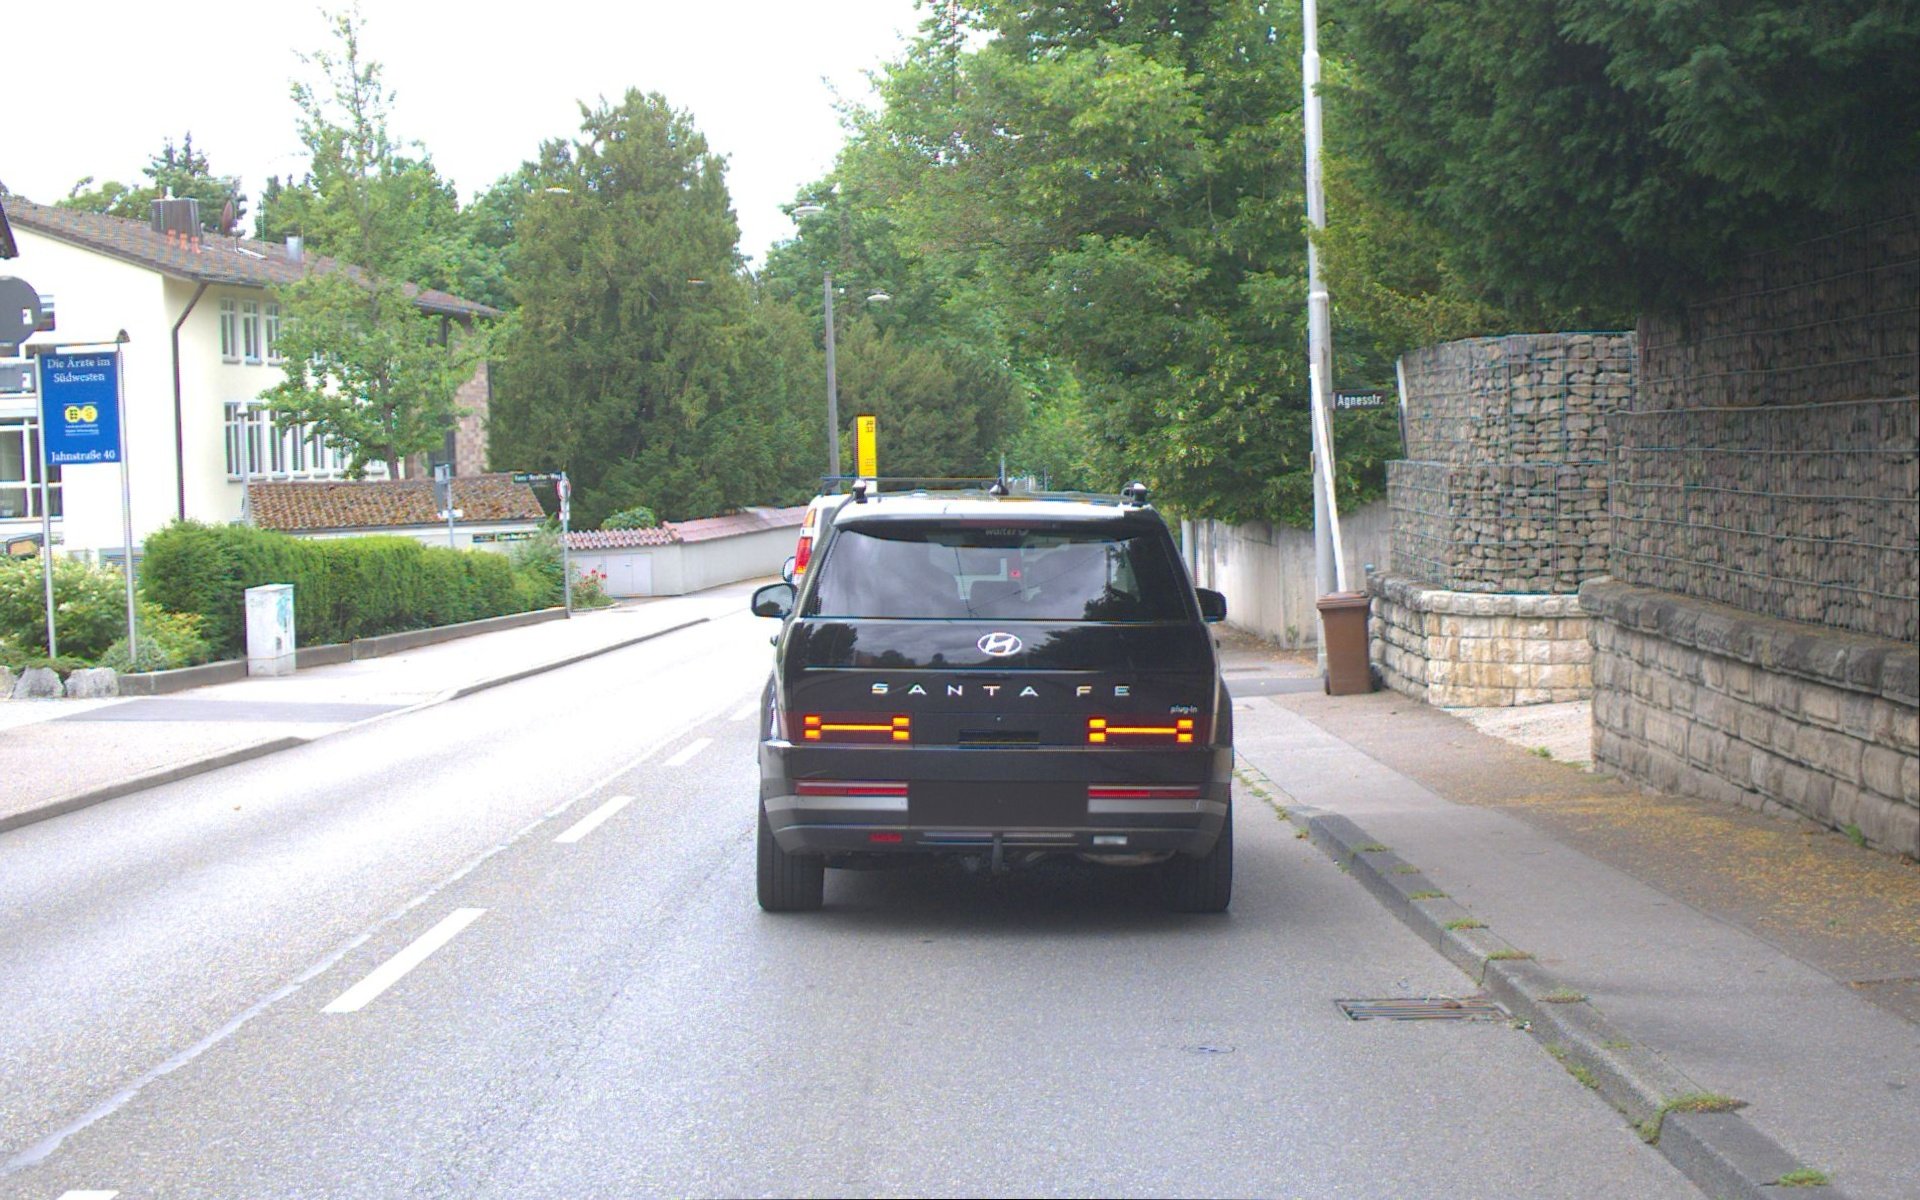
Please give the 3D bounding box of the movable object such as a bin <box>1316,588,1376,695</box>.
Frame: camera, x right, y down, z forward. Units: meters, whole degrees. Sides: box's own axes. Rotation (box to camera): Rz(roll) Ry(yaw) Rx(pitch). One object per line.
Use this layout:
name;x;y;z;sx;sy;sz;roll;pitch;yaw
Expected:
movable object such as a bin;3.442;0.368;30.658;0.445;0.907;0.394;-4;0;10

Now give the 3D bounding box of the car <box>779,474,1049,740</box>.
car;-0.452;0.013;27.801;1.957;1.949;4.224;-1;1;-3

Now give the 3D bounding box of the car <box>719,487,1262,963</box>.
car;0.134;0.406;14.742;1.957;1.707;4.223;1;1;1

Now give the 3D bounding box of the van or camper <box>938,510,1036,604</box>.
van or camper;0.648;-1.021;79.738;1.676;2.000;3.937;-1;3;9
